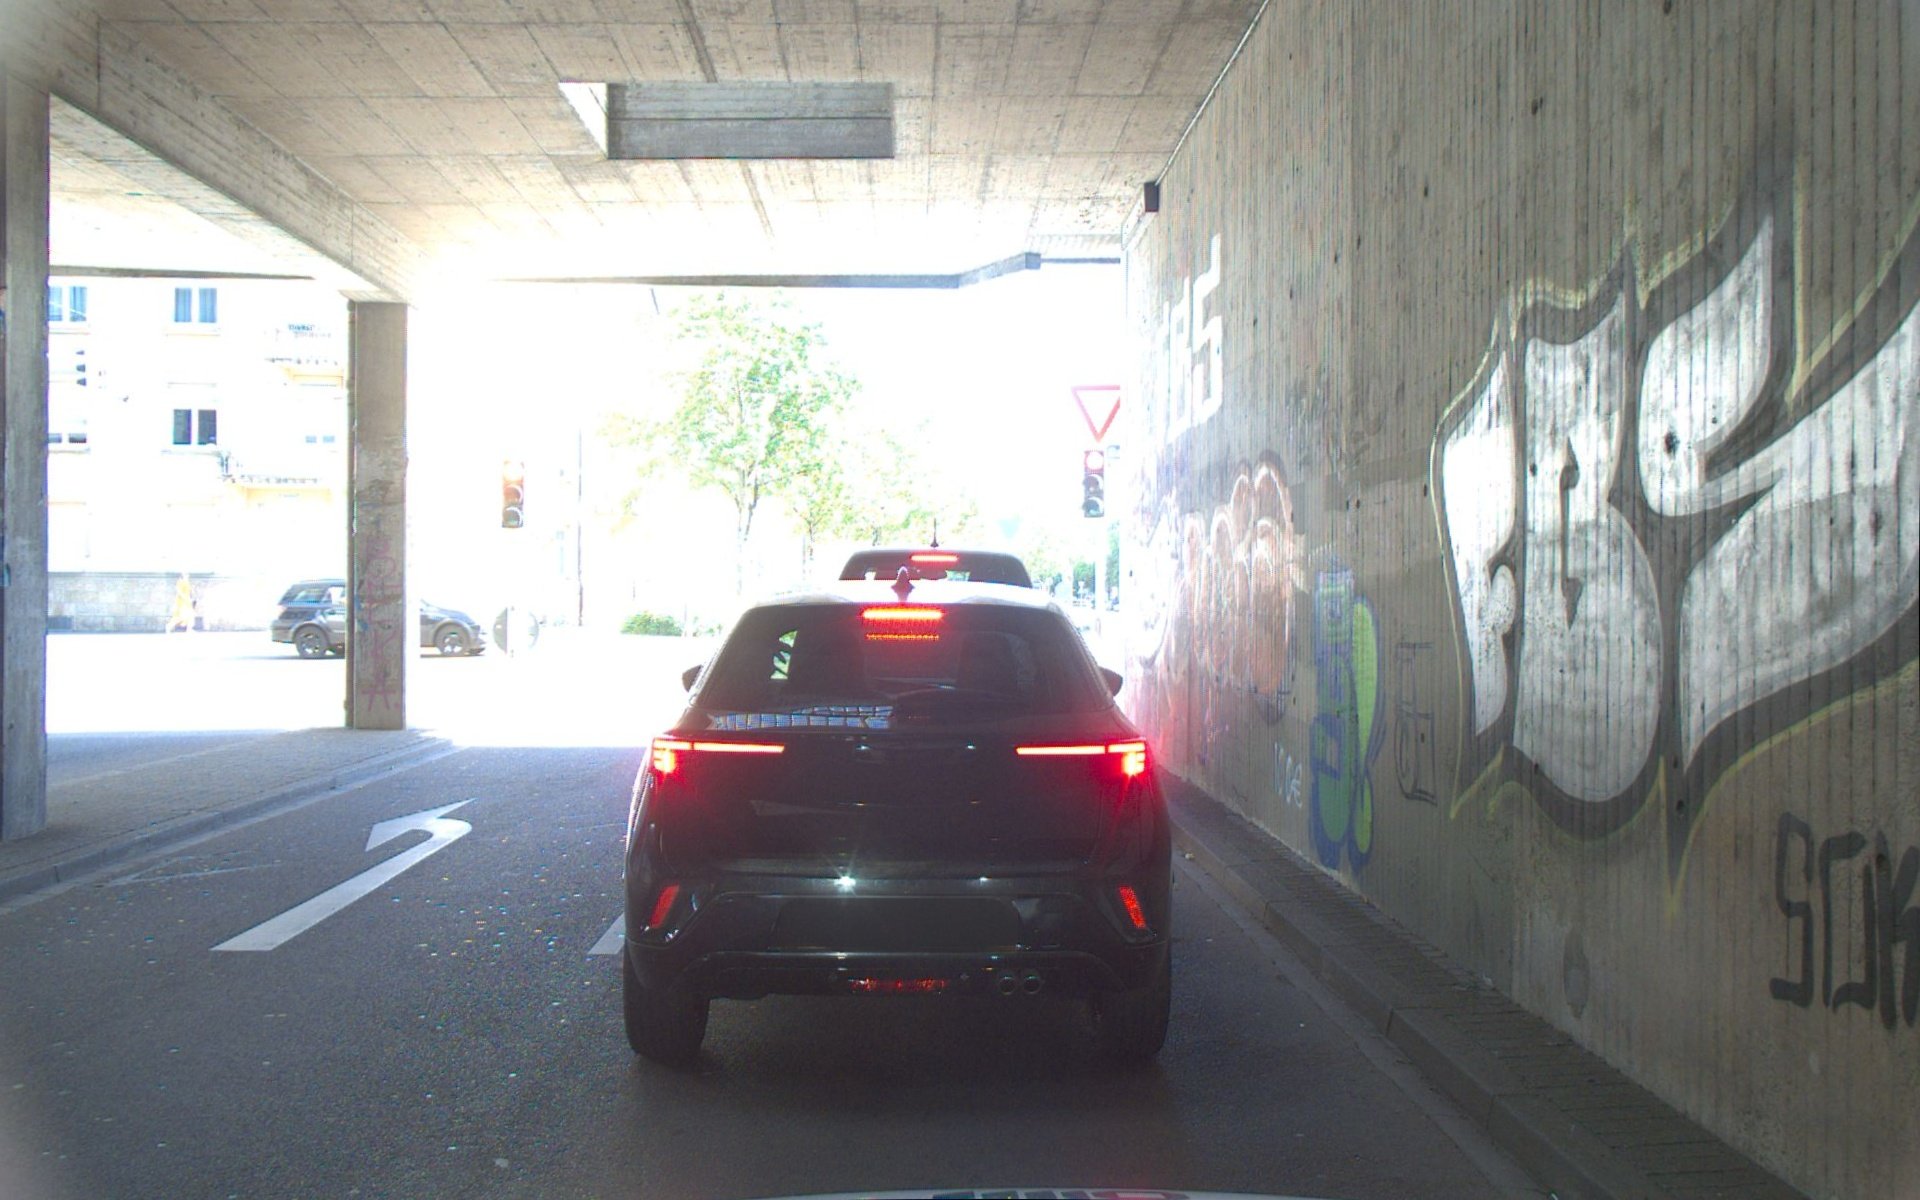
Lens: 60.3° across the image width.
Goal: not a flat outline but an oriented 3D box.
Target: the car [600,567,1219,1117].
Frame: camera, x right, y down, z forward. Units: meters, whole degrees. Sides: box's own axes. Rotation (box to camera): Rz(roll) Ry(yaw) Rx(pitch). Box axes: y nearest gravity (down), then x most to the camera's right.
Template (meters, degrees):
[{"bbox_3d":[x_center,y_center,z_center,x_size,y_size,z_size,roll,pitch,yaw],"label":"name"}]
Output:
[{"bbox_3d":[-0.156,0.671,6.662,1.718,1.525,4.000,1,0,-1],"label":"car"}]

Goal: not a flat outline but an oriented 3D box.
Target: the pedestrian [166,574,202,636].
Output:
[{"bbox_3d":[-21.748,0.141,46.376,0.707,1.734,0.624,1,0,-7],"label":"pedestrian"}]

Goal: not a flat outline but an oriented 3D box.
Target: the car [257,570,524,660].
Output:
[{"bbox_3d":[-10.982,0.259,32.164,4.486,1.670,1.999,0,1,-3],"label":"car"}]

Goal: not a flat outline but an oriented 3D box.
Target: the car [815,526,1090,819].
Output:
[{"bbox_3d":[-0.069,0.456,12.637,1.749,1.865,3.960,1,0,-1],"label":"car"}]

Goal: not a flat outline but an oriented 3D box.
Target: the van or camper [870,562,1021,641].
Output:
[{"bbox_3d":[-0.358,0.026,44.081,3.795,2.049,2.002,0,0,7],"label":"van or camper"}]
